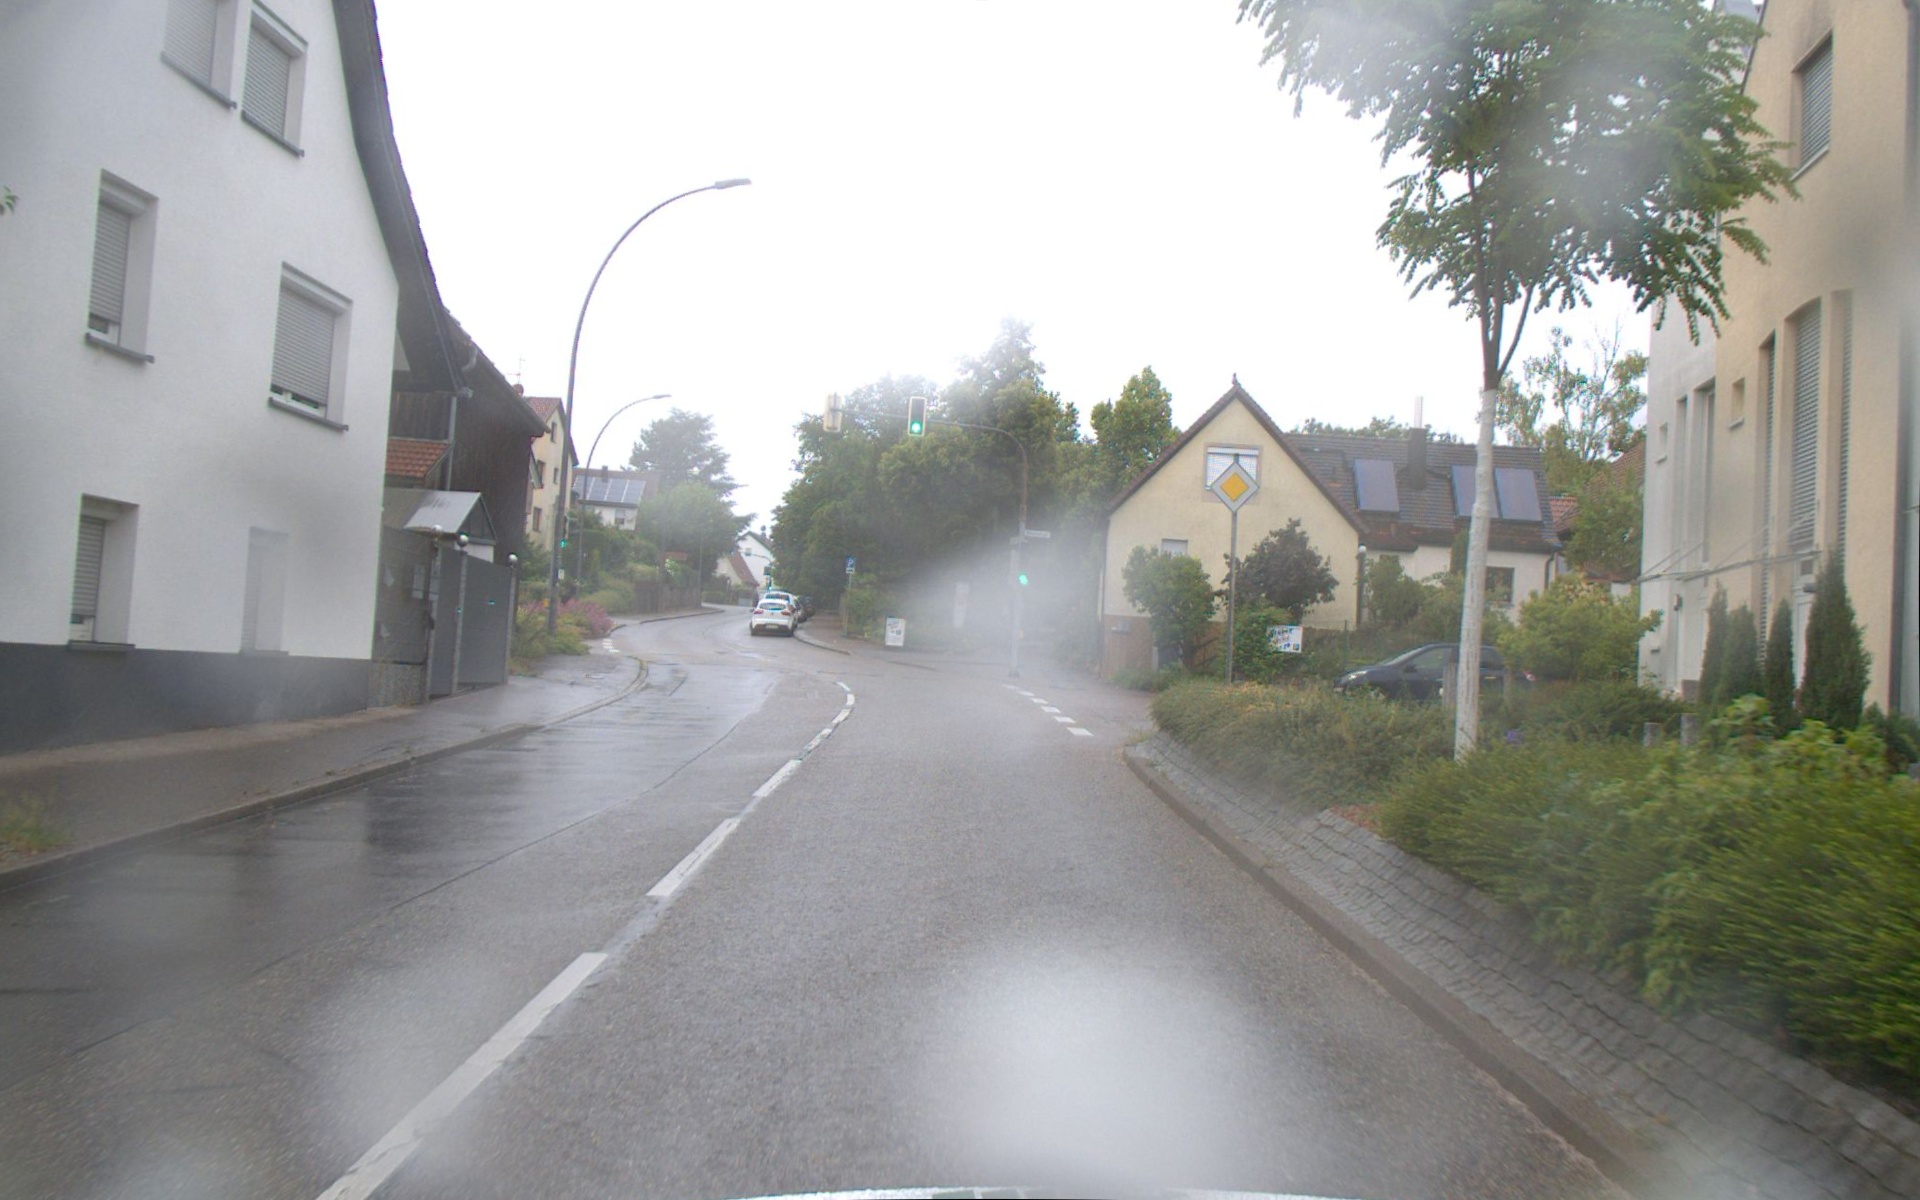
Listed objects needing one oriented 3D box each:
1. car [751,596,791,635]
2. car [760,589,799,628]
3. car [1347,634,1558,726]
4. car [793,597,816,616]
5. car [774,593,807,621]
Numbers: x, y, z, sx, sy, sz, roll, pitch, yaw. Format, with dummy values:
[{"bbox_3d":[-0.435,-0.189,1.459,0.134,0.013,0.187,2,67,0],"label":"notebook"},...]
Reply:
[{"bbox_3d":[-7.998,0.619,70.148,1.581,1.506,4.033,4,0,-6],"label":"car"},{"bbox_3d":[-8.818,0.400,80.982,1.605,1.771,4.132,3,-1,-4],"label":"car"},{"bbox_3d":[10.384,1.680,35.162,4.044,1.613,1.866,4,-2,11],"label":"car"},{"bbox_3d":[-12.116,0.500,128.927,1.620,1.395,4.176,3,0,-6],"label":"car"},{"bbox_3d":[-10.539,0.461,102.943,1.779,1.601,3.878,3,-1,-3],"label":"car"}]
